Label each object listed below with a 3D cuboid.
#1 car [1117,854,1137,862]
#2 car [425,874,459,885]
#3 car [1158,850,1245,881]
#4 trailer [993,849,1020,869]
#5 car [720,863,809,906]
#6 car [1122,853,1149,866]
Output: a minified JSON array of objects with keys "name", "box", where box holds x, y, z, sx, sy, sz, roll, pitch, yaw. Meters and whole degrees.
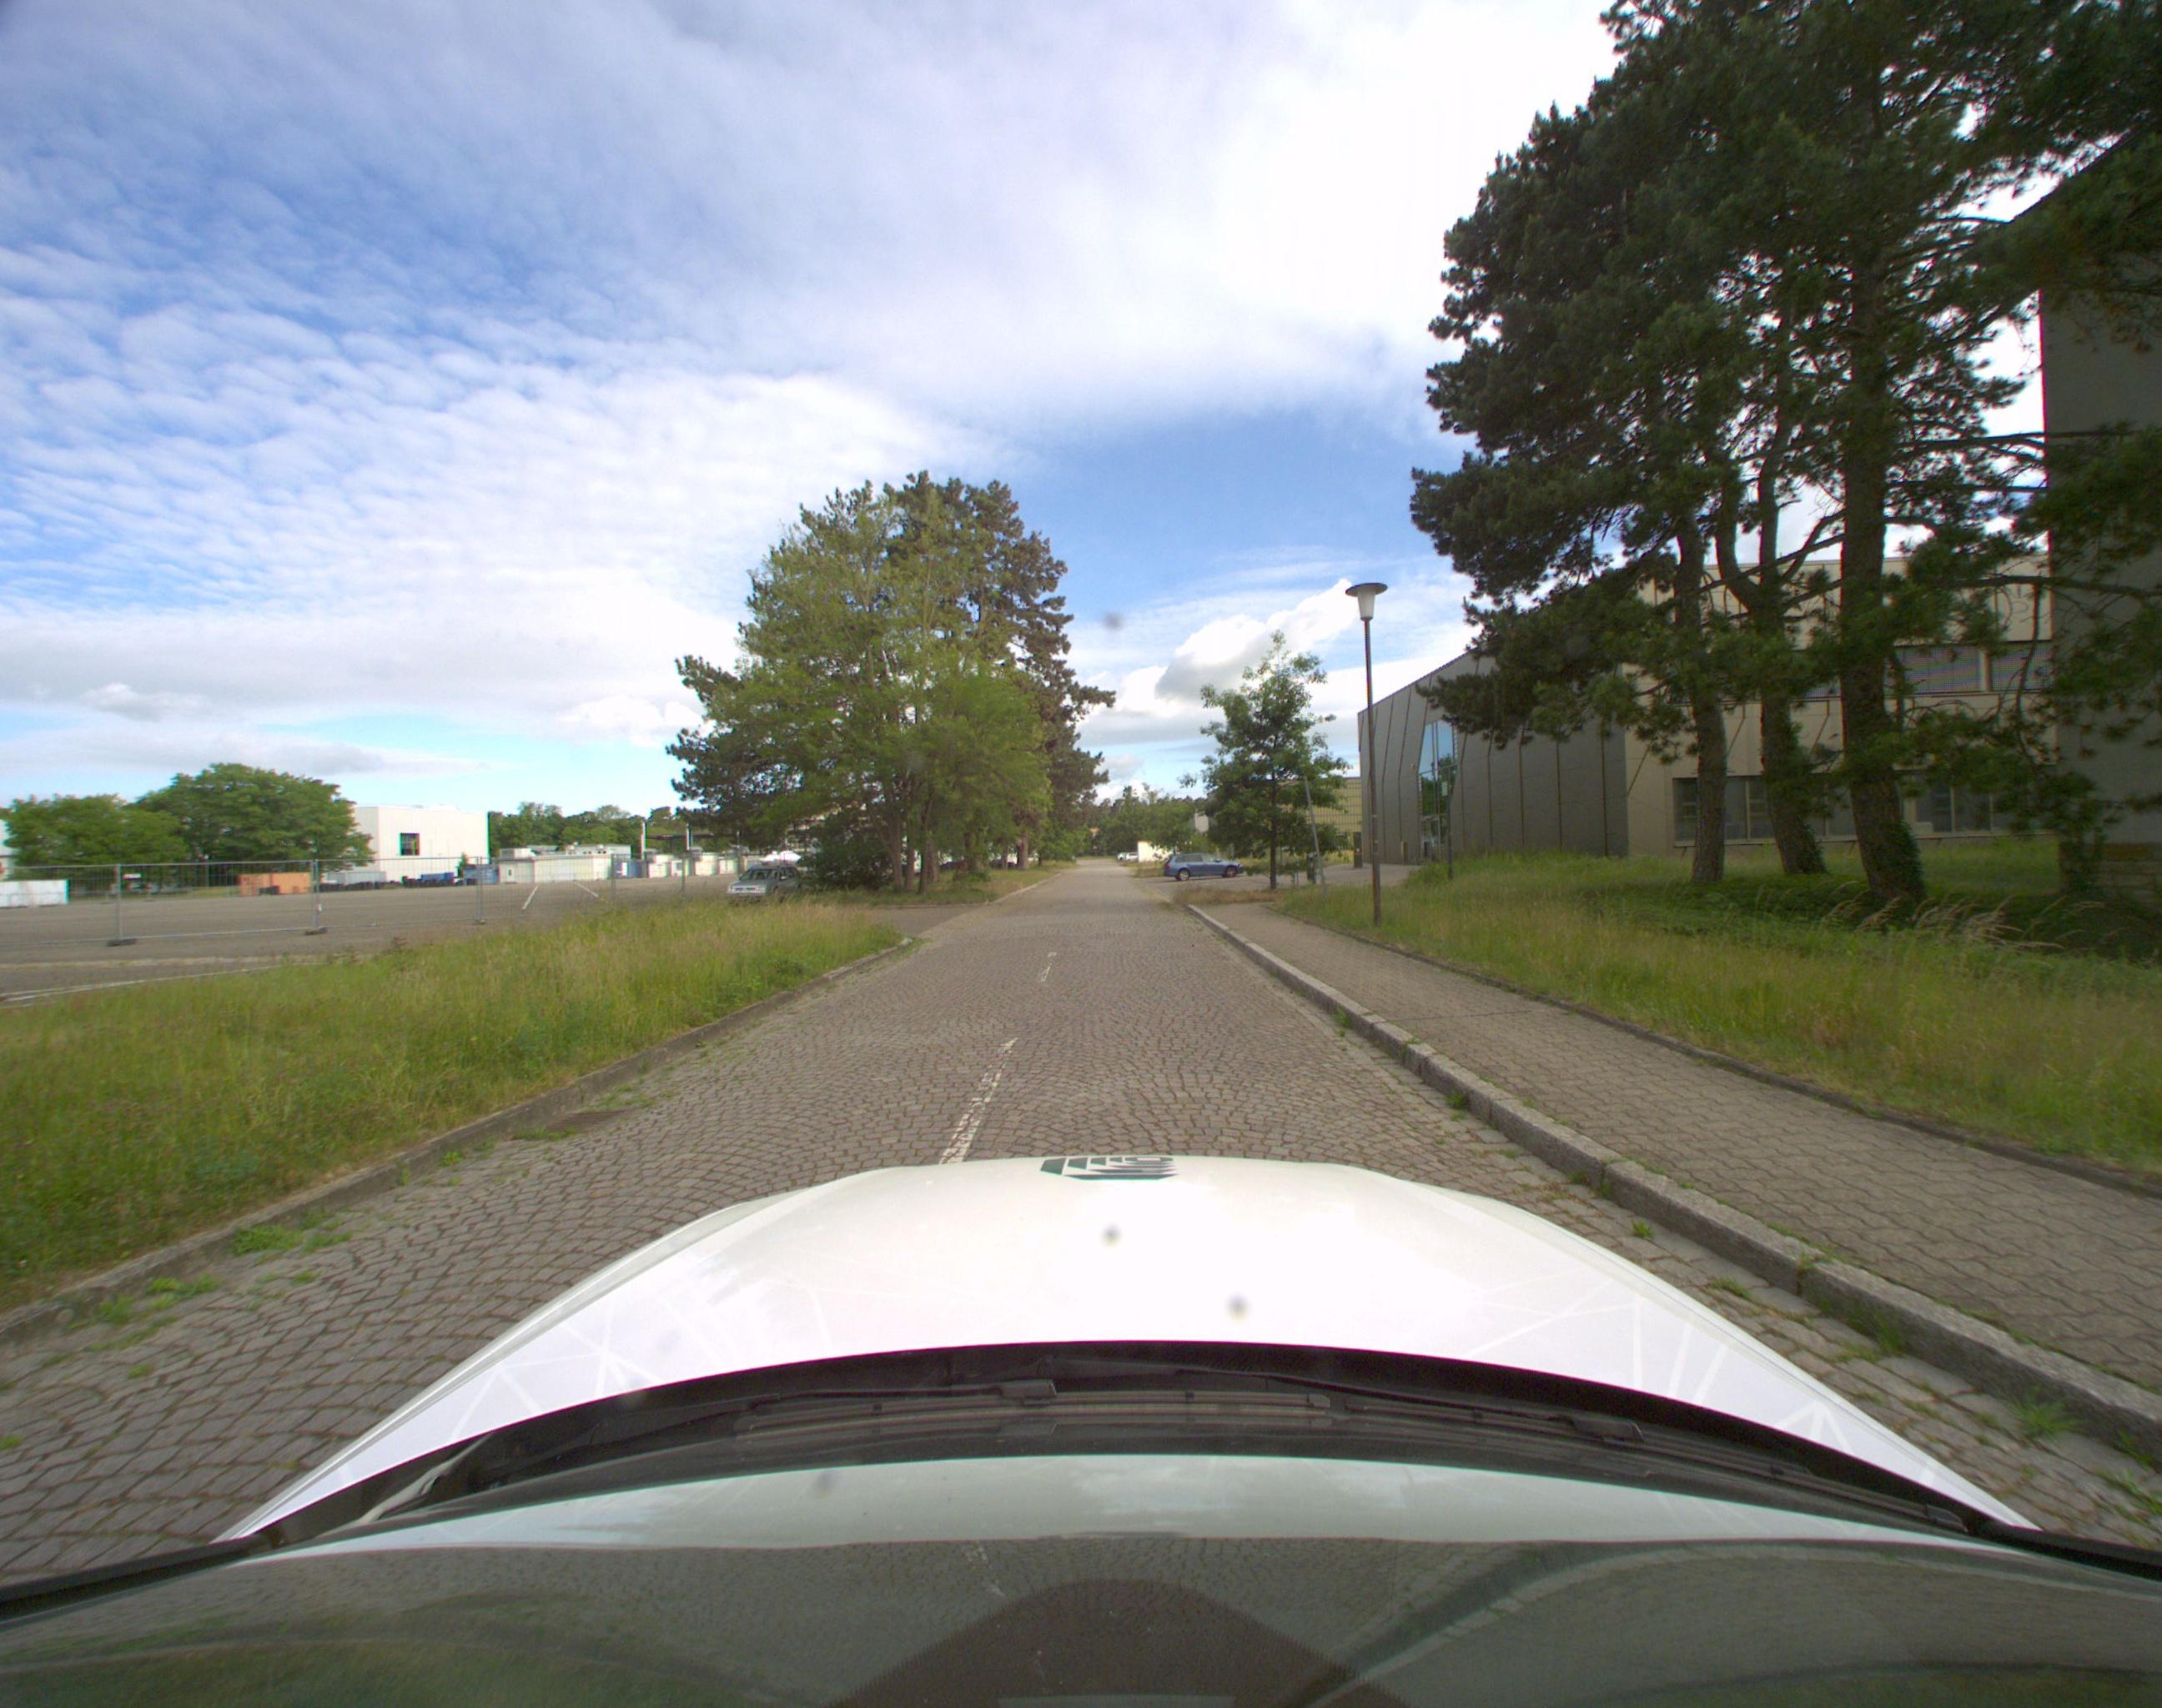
[{"name":"car","box":[9.265,0.792,165.322,4.010,1.502,1.549,-2,0,2]},{"name":"car","box":[-100.019,3.937,127.466,3.955,1.533,1.629,-2,0,-1]},{"name":"car","box":[6.712,0.625,45.618,4.511,1.443,1.822,-4,0,-3]},{"name":"trailer","box":[-12.002,0.761,132.073,3.145,3.067,8.791,-2,0,3]},{"name":"car","box":[-12.064,1.126,31.344,1.710,1.438,4.465,-2,0,-1]},{"name":"car","box":[7.982,0.802,119.172,3.839,1.654,1.685,-2,0,-2]}]
